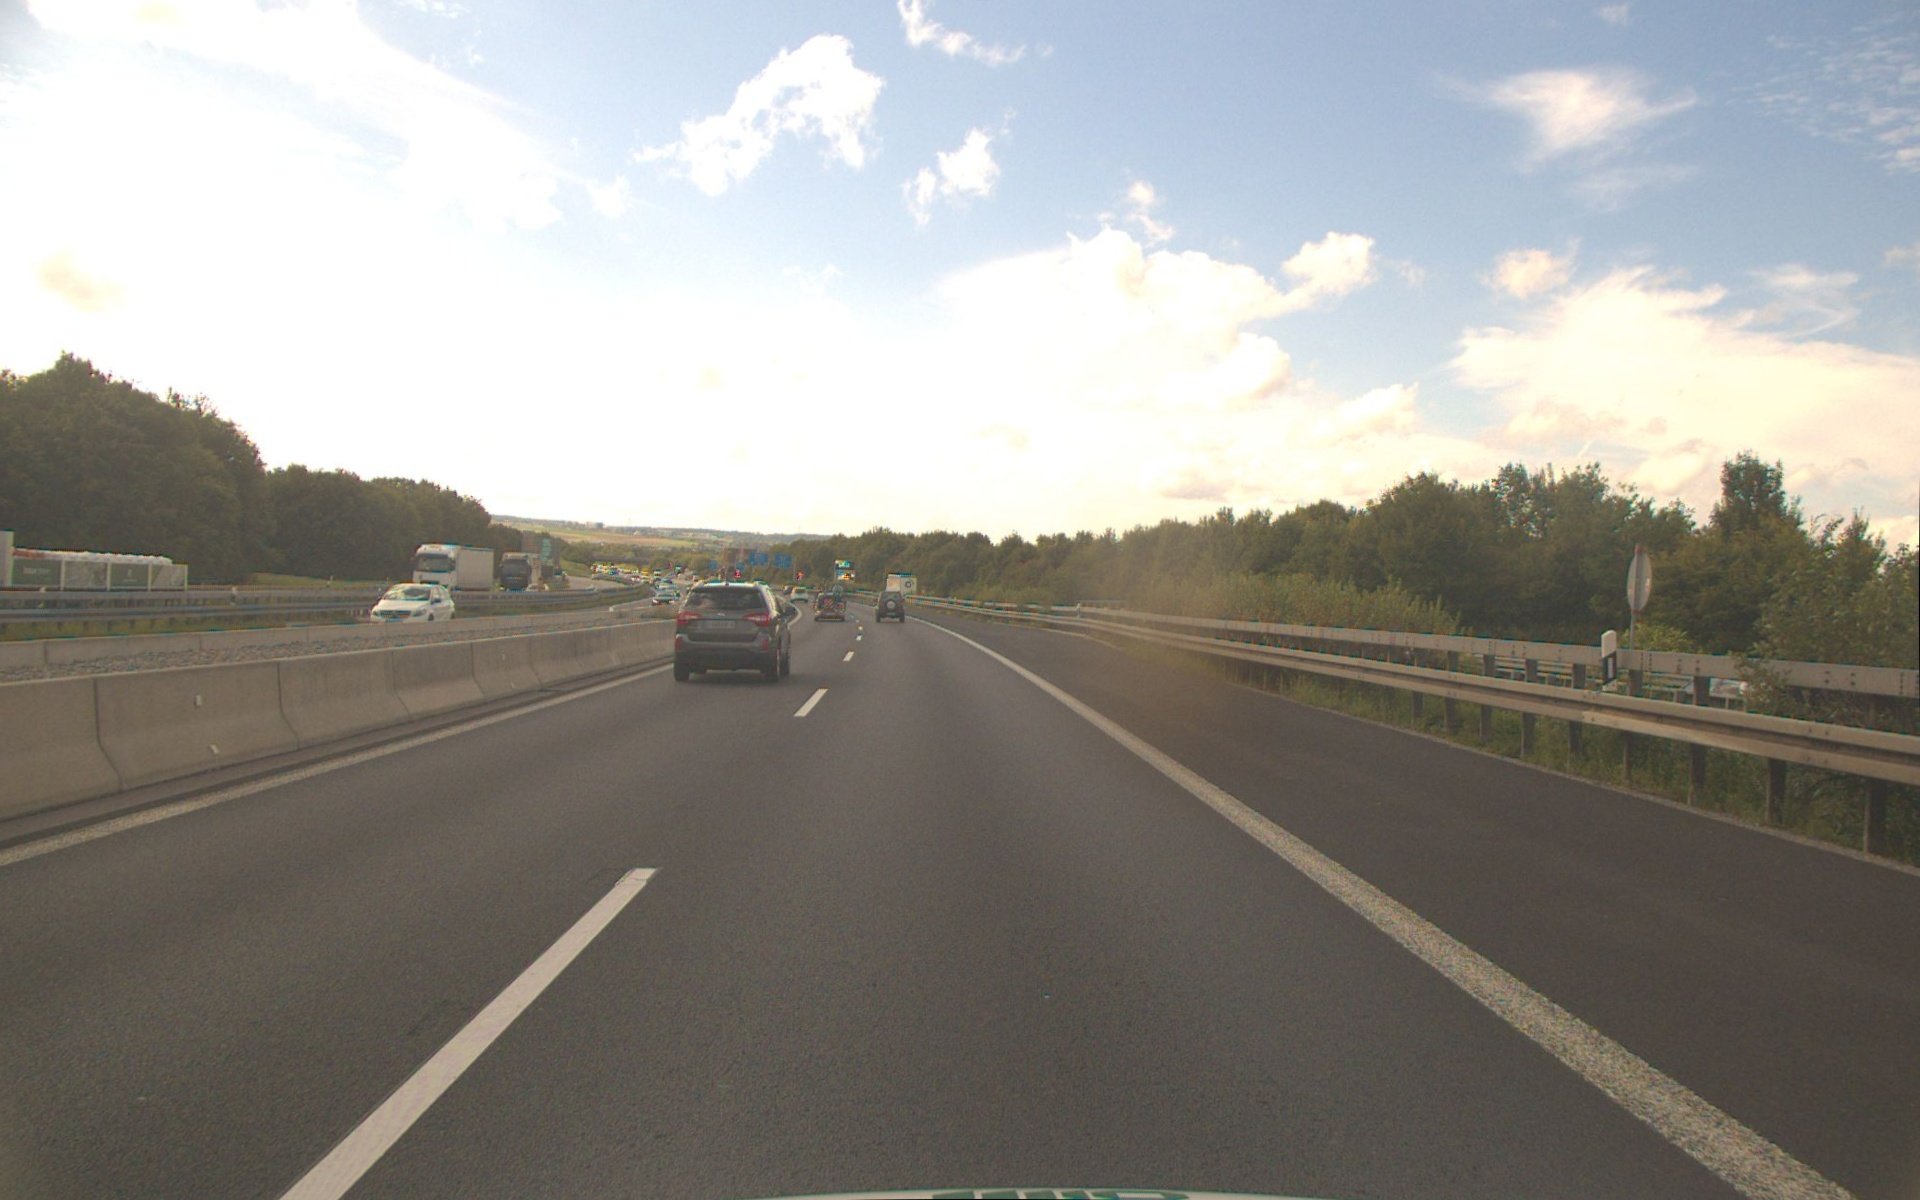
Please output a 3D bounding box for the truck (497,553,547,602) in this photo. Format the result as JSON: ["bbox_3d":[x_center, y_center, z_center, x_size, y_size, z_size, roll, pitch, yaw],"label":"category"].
[{"bbox_3d":[-39.415,-1.972,149.104,2.846,4.038,10.447,1,-1,-7],"label":"truck"}]

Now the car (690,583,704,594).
[{"bbox_3d":[-37.765,-1.649,237.877,1.850,1.638,4.957,1,0,-8],"label":"car"}]

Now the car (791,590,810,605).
[{"bbox_3d":[-18.419,-0.273,190.669,1.957,1.713,3.991,1,-1,-9],"label":"car"}]

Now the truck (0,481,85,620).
[{"bbox_3d":[-28.402,-1.426,47.919,2.755,3.893,7.121,1,0,-5],"label":"truck"}]

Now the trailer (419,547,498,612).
[{"bbox_3d":[-36.997,-1.417,122.481,3.257,4.368,12.124,1,-1,-6],"label":"trailer"}]

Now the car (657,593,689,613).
[{"bbox_3d":[-22.056,0.252,127.090,1.837,1.473,5.118,1,-1,-3],"label":"car"}]

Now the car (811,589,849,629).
[{"bbox_3d":[-7.377,0.500,94.385,1.990,2.189,3.998,1,0,-3],"label":"car"}]

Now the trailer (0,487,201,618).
[{"bbox_3d":[-29.116,-1.438,55.377,2.758,3.873,12.174,1,0,-6],"label":"trailer"}]

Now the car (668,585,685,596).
[{"bbox_3d":[-38.157,-1.248,222.410,1.955,1.427,4.806,1,0,-7],"label":"car"}]

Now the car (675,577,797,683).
[{"bbox_3d":[-4.052,0.524,30.625,1.781,1.766,5.183,1,0,-3],"label":"car"}]

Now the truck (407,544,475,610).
[{"bbox_3d":[-36.286,-1.542,115.839,3.257,4.368,6.738,1,-1,-7],"label":"truck"}]

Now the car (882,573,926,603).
[{"bbox_3d":[-8.619,-1.781,252.762,4.646,4.341,11.368,1,-1,-12],"label":"car"}]

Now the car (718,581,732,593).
[{"bbox_3d":[-35.116,-1.935,247.286,1.851,1.733,4.955,1,0,-10],"label":"car"}]

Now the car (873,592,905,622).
[{"bbox_3d":[-4.047,0.395,93.354,1.556,1.625,4.091,1,0,-6],"label":"car"}]

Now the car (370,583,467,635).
[{"bbox_3d":[-17.193,0.317,52.750,1.678,1.554,4.764,1,-1,-2],"label":"car"}]
